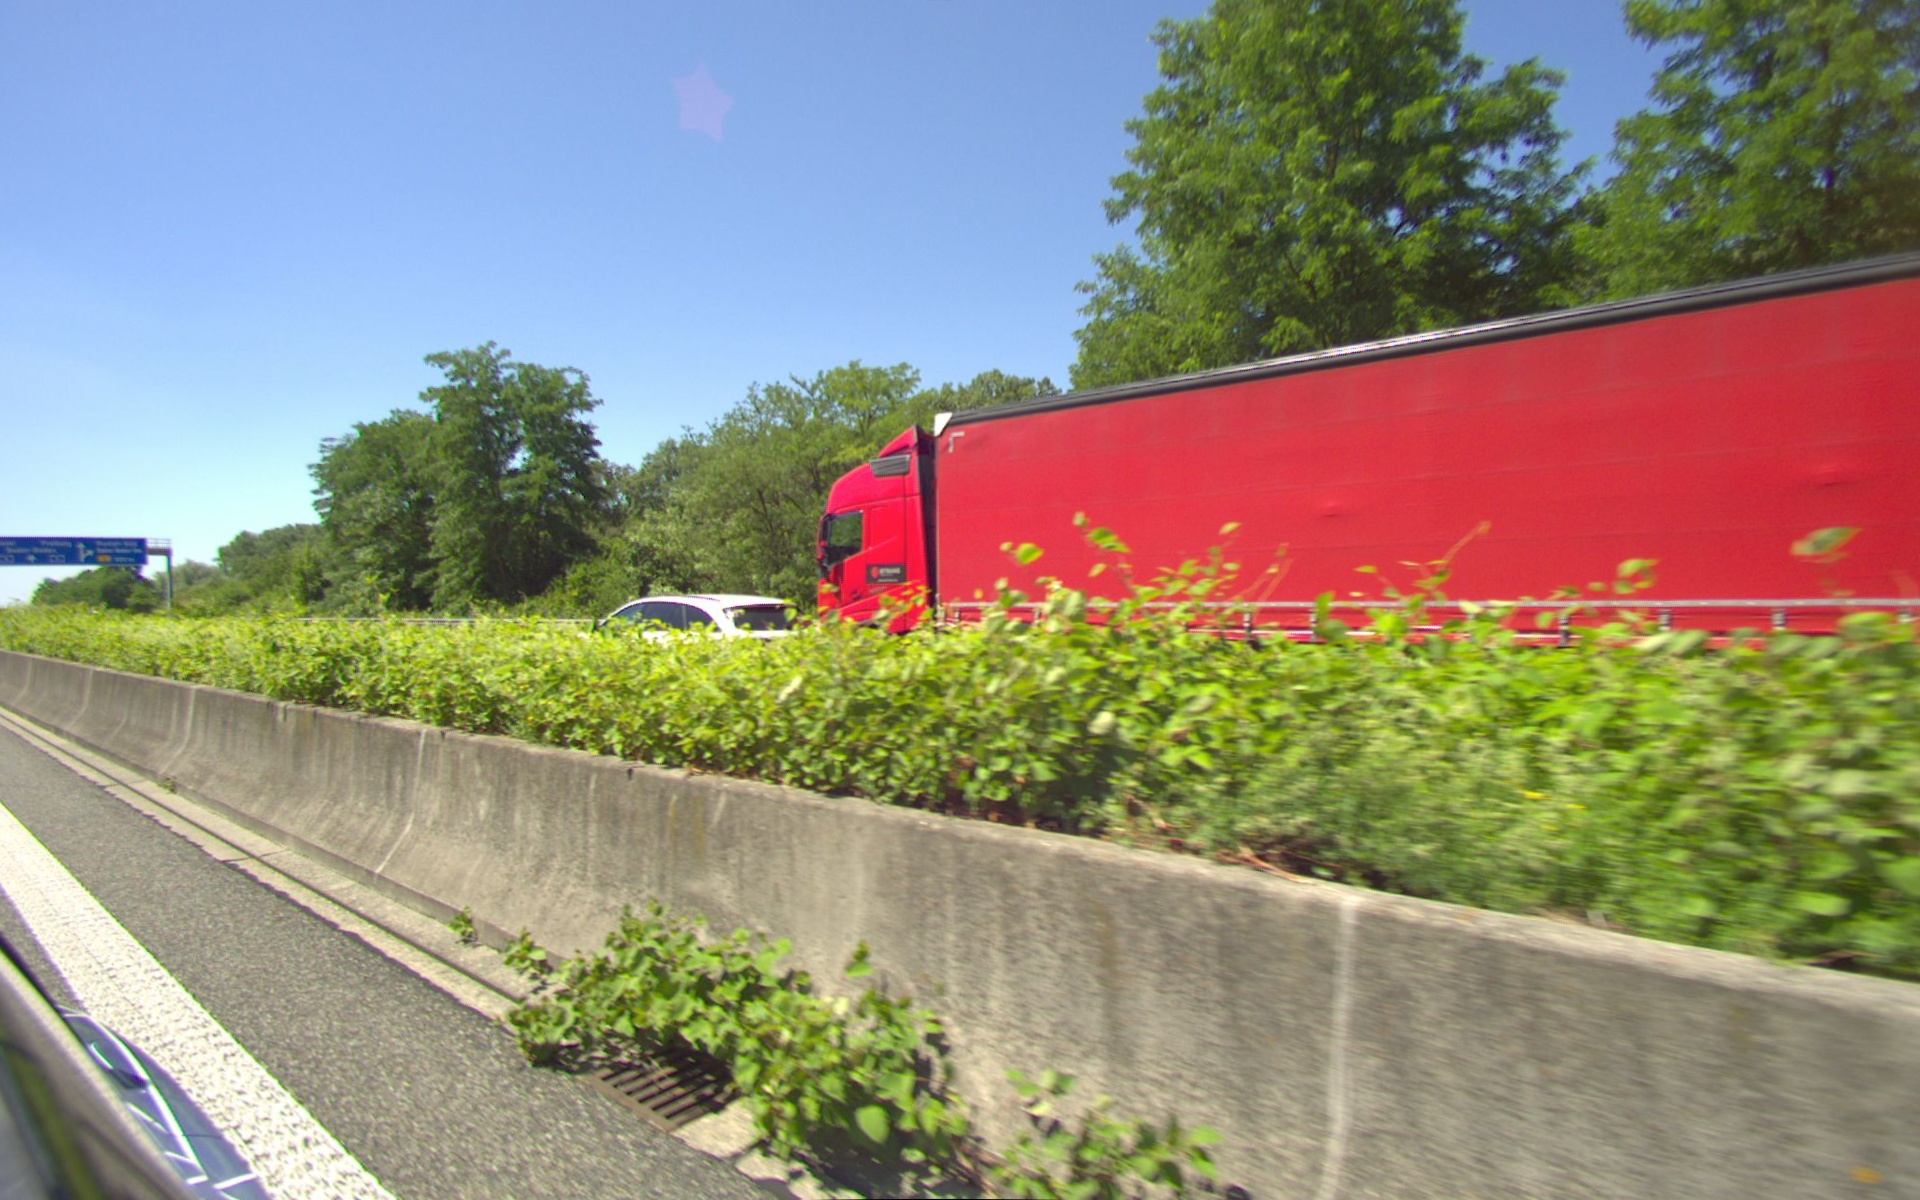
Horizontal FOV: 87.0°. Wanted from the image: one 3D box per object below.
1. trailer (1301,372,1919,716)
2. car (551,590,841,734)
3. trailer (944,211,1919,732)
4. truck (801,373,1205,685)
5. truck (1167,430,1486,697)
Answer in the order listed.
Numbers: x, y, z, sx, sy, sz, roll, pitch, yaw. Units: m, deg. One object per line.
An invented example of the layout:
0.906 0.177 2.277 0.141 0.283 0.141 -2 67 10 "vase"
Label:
11.202 -0.601 11.227 14.211 3.623 2.347 -1 -1 41 "trailer"
-3.554 0.717 13.264 3.997 1.613 1.678 -1 0 40 "car"
6.039 -0.946 10.420 14.390 3.965 2.440 -1 -1 41 "trailer"
0.466 -0.837 15.168 5.724 3.817 2.440 -1 0 40 "truck"
5.709 -0.469 15.959 4.160 3.629 2.333 -1 -1 40 "truck"
